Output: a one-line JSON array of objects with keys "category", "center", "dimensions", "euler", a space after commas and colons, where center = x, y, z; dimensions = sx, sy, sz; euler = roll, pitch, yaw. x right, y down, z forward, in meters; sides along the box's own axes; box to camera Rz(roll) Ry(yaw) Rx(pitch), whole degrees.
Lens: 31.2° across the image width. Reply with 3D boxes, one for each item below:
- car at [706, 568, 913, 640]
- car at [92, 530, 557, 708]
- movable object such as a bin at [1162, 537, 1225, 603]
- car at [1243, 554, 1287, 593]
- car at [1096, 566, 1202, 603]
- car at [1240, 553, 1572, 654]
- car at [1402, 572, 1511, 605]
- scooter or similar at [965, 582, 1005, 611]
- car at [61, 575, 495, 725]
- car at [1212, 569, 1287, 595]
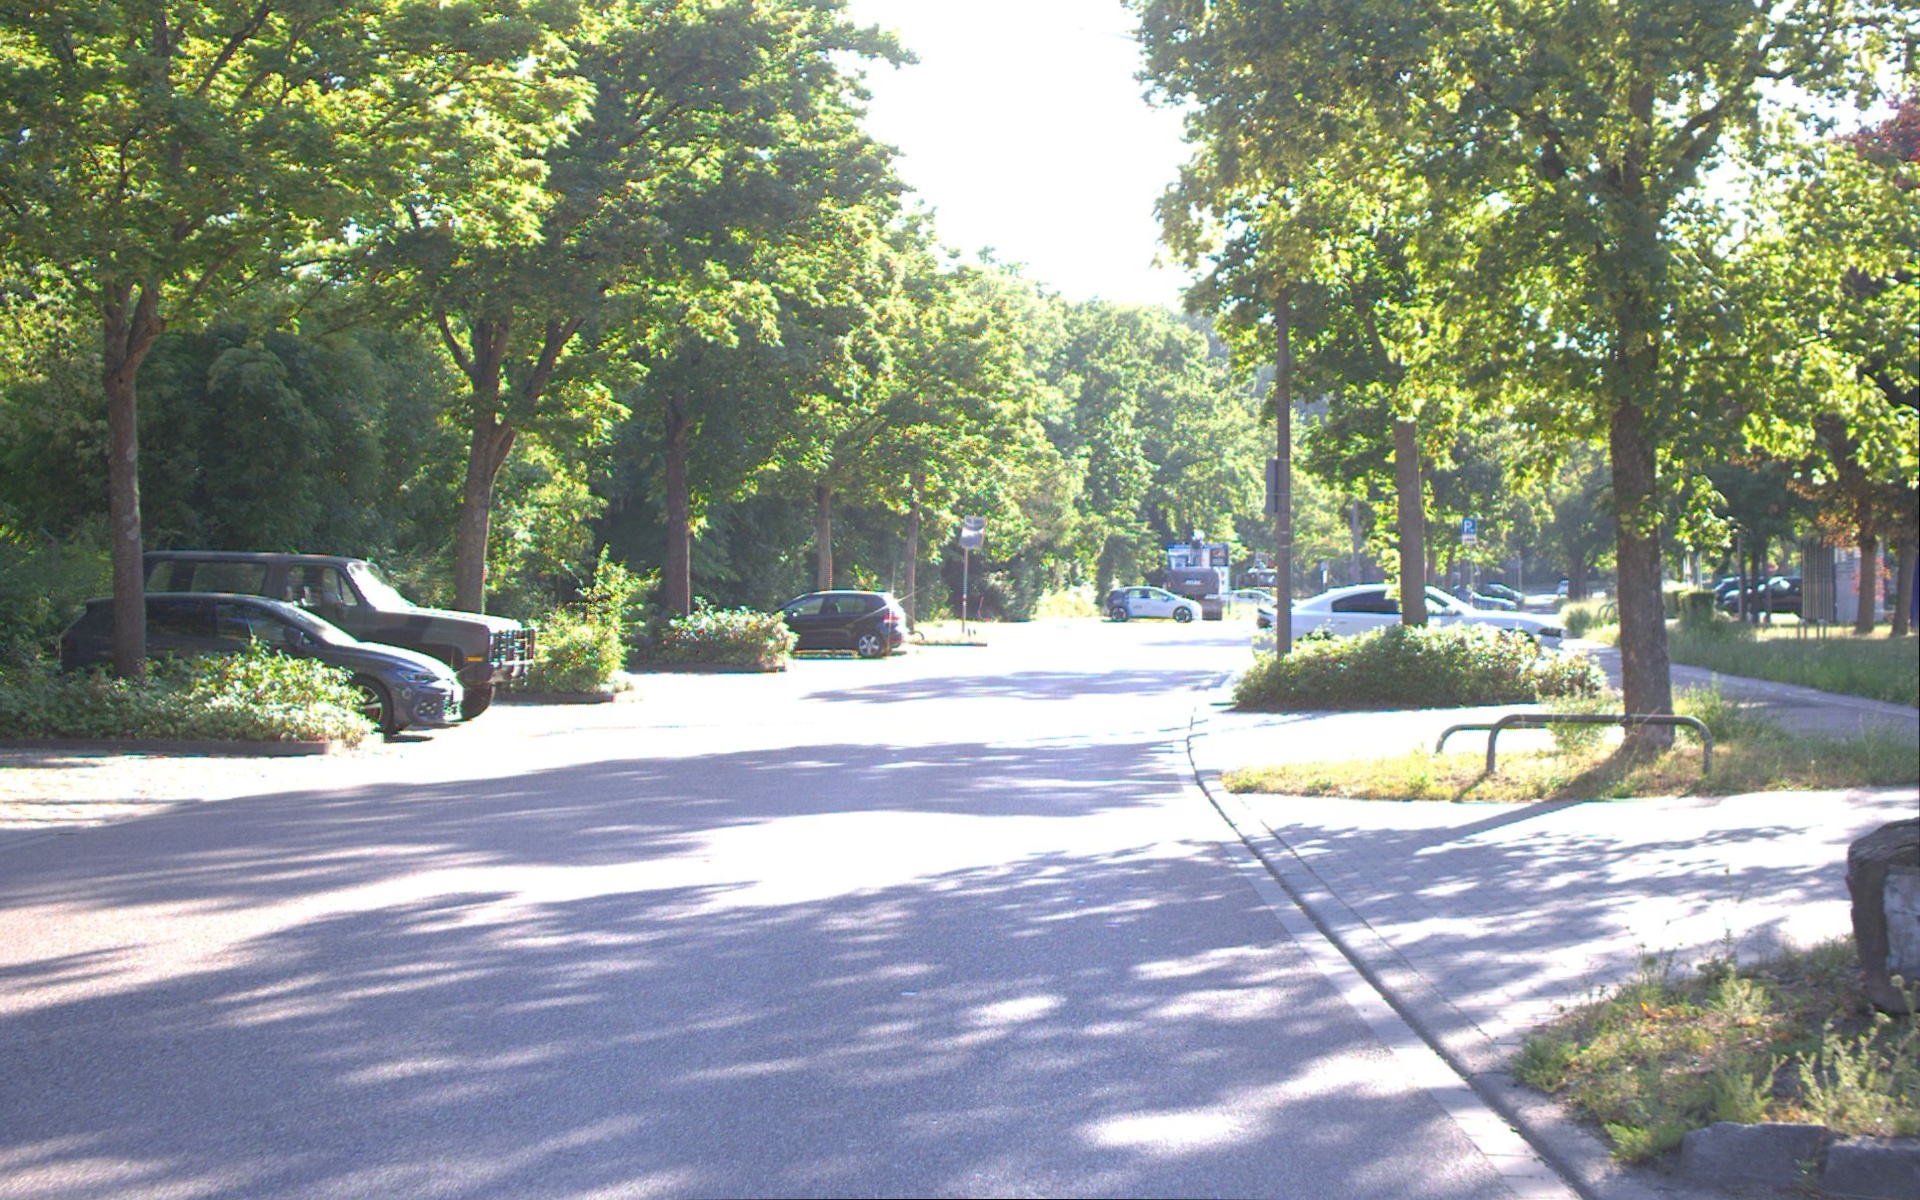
[{"category": "car", "center": [-3.355, 0.078, 77.172], "dimensions": [4.359, 1.474, 2.000], "euler": [2, 1, 7]}, {"category": "car", "center": [-7.410, 0.209, 40.439], "dimensions": [5.005, 2.013, 2.174], "euler": [0, 0, 3]}, {"category": "movable object such as a bin", "center": [11.016, -1.410, 161.846], "dimensions": [2.839, 3.058, 4.926], "euler": [0, 0, 5]}, {"category": "car", "center": [18.738, -1.610, 211.124], "dimensions": [2.517, 2.378, 4.372], "euler": [0, 0, 3]}, {"category": "car", "center": [8.250, -0.679, 149.778], "dimensions": [4.360, 1.542, 1.999], "euler": [0, 0, 11]}, {"category": "car", "center": [7.118, 0.047, 55.396], "dimensions": [5.176, 1.568, 2.157], "euler": [0, 0, 4]}, {"category": "car", "center": [22.651, -0.510, 156.774], "dimensions": [4.843, 1.474, 1.999], "euler": [0, 1, 11]}, {"category": "scooter or similar", "center": [0.997, -0.146, 136.018], "dimensions": [1.580, 1.141, 0.577], "euler": [0, 0, -41]}, {"category": "car", "center": [-7.173, 0.517, 36.384], "dimensions": [4.212, 1.525, 1.705], "euler": [0, 0, 3]}, {"category": "car", "center": [16.986, -1.064, 201.956], "dimensions": [4.359, 1.474, 2.000], "euler": [0, 1, 3]}]
